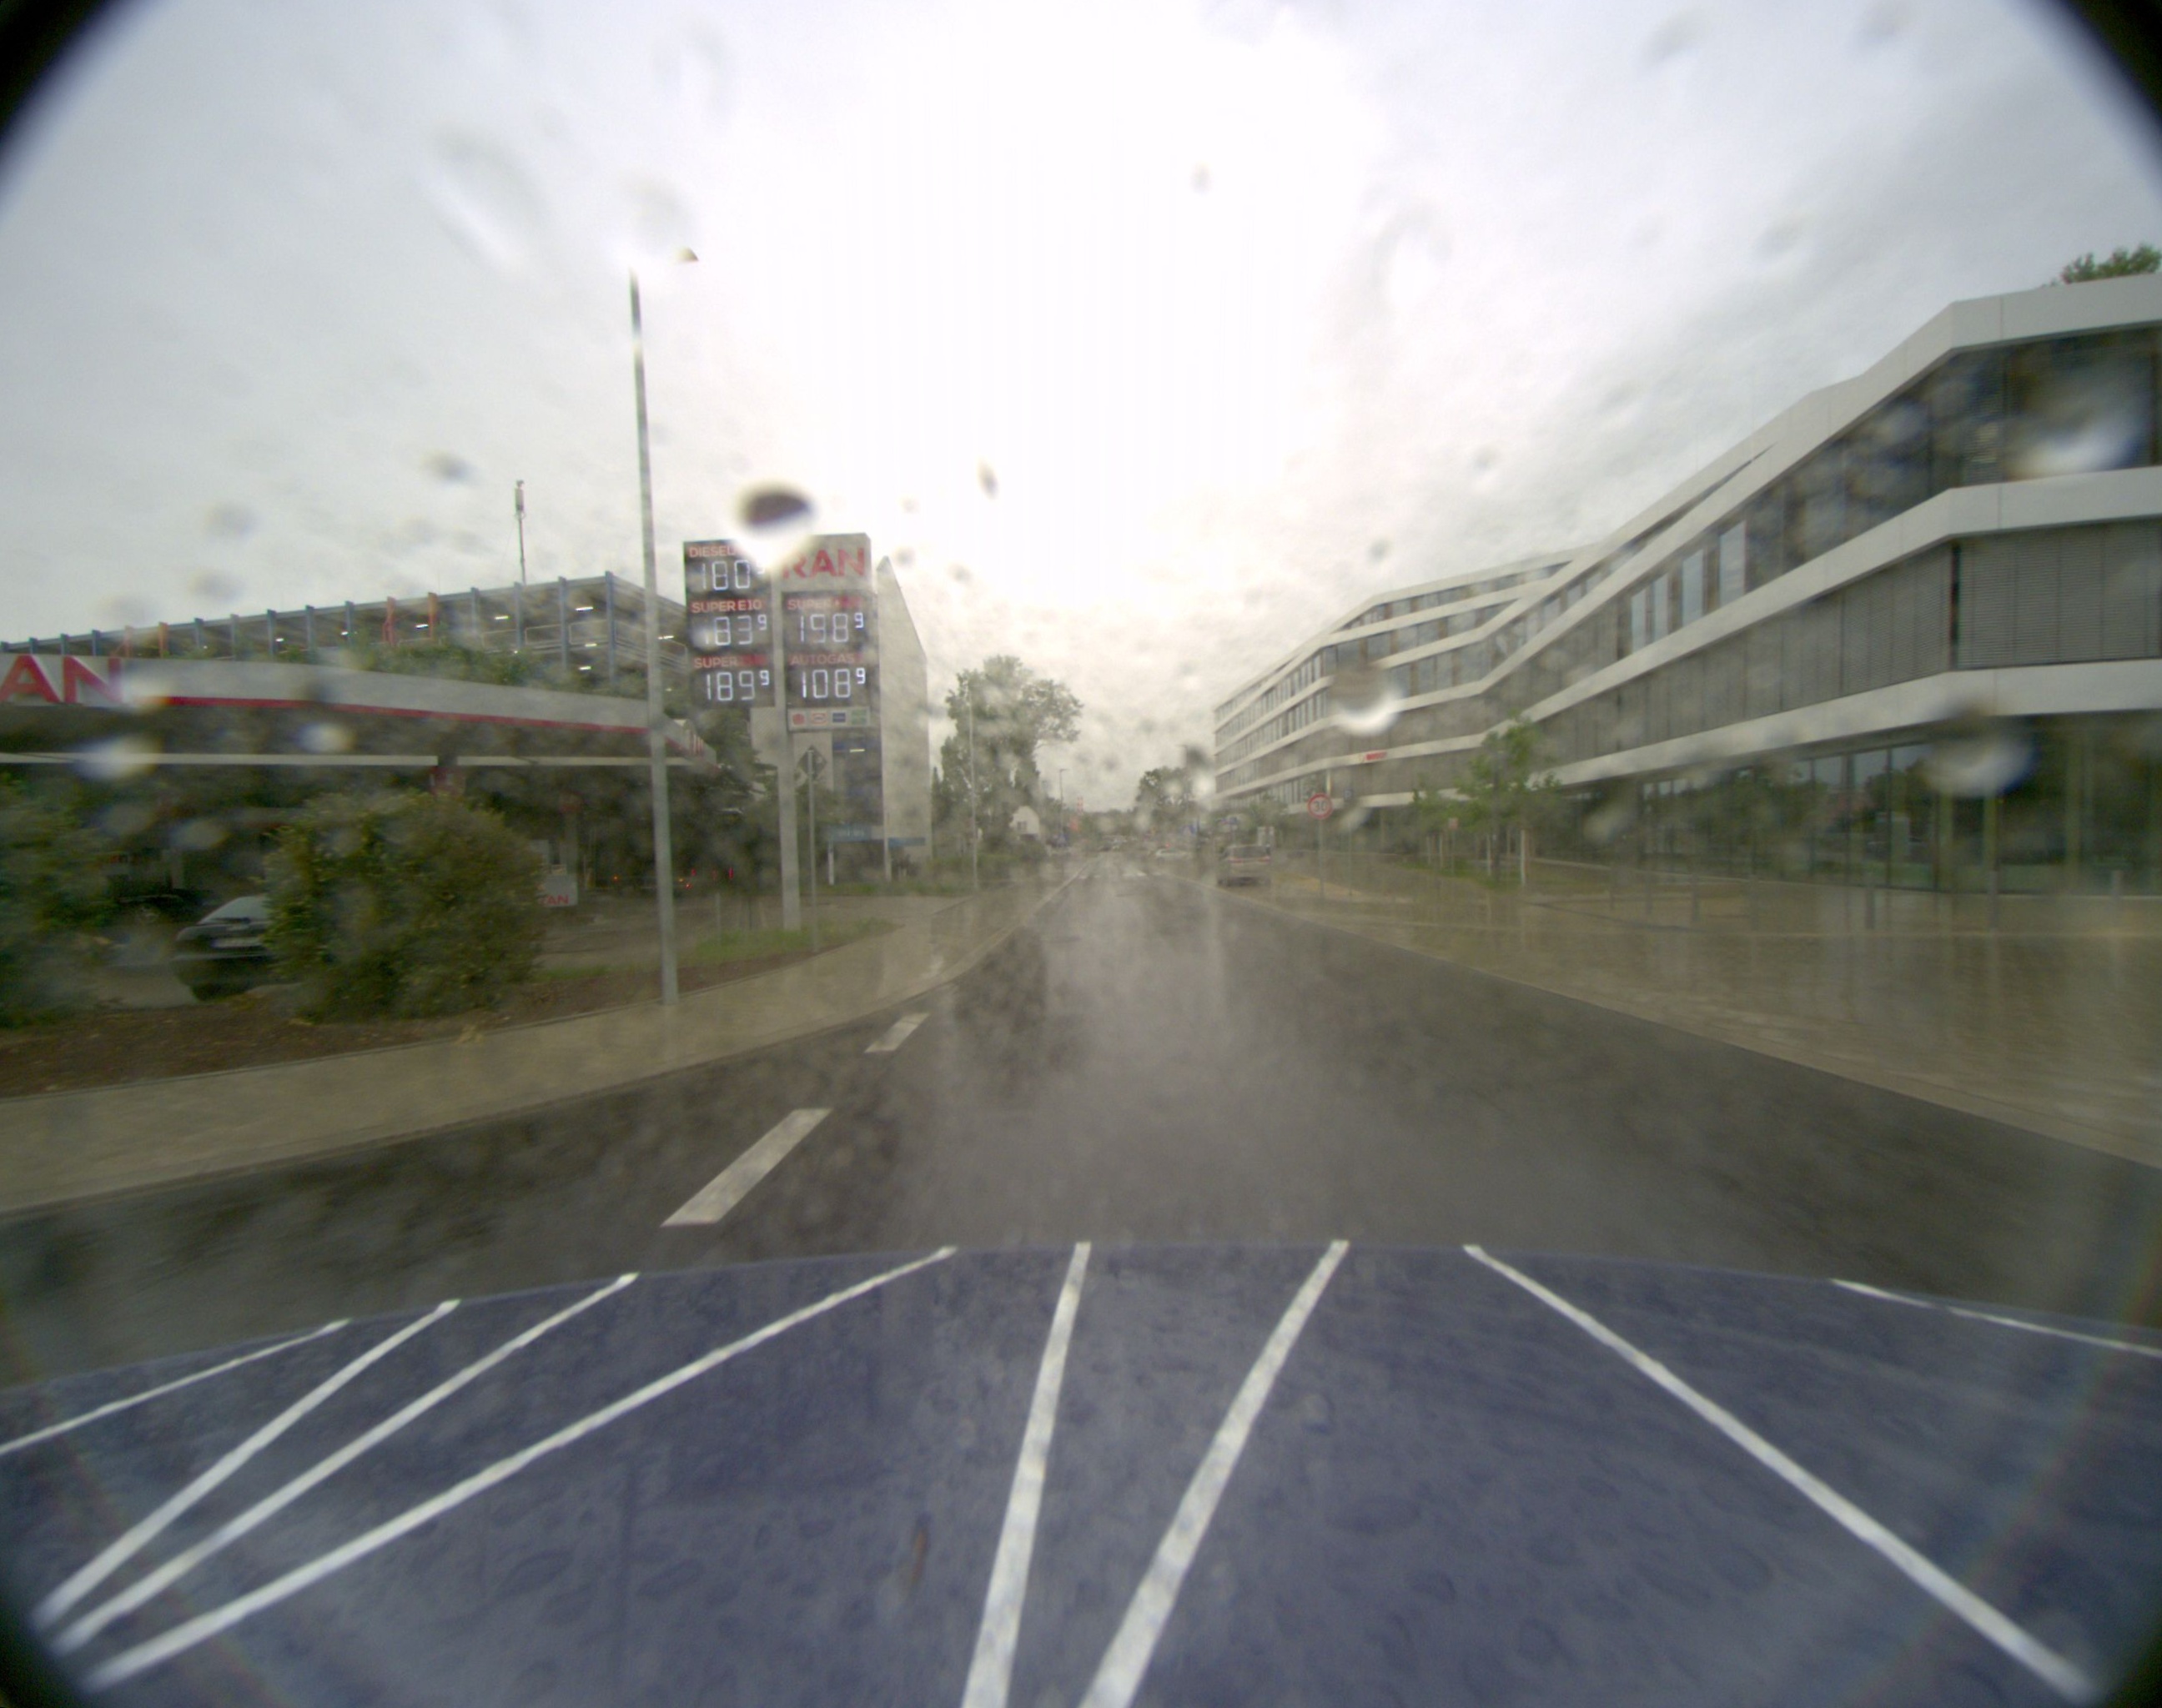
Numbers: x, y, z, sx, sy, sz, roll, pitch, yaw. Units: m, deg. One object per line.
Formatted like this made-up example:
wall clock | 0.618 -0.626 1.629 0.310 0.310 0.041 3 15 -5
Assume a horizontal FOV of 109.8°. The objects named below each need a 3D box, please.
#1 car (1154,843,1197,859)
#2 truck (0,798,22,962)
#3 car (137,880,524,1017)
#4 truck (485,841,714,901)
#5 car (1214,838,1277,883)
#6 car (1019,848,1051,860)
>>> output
car | 9.597 -0.308 77.220 4.166 1.411 2.001 -4 1 6
truck | -28.686 0.800 12.651 14.420 3.339 2.645 -3 -1 -15
car | -10.259 1.162 10.975 1.694 1.332 4.336 -2 1 -9
truck | -18.314 0.642 29.212 7.297 2.193 2.085 0 -2 -5
car | 6.788 0.239 31.762 1.841 1.696 4.324 -2 1 3
car | -5.933 0.003 98.634 3.998 1.445 1.868 -2 1 -2
